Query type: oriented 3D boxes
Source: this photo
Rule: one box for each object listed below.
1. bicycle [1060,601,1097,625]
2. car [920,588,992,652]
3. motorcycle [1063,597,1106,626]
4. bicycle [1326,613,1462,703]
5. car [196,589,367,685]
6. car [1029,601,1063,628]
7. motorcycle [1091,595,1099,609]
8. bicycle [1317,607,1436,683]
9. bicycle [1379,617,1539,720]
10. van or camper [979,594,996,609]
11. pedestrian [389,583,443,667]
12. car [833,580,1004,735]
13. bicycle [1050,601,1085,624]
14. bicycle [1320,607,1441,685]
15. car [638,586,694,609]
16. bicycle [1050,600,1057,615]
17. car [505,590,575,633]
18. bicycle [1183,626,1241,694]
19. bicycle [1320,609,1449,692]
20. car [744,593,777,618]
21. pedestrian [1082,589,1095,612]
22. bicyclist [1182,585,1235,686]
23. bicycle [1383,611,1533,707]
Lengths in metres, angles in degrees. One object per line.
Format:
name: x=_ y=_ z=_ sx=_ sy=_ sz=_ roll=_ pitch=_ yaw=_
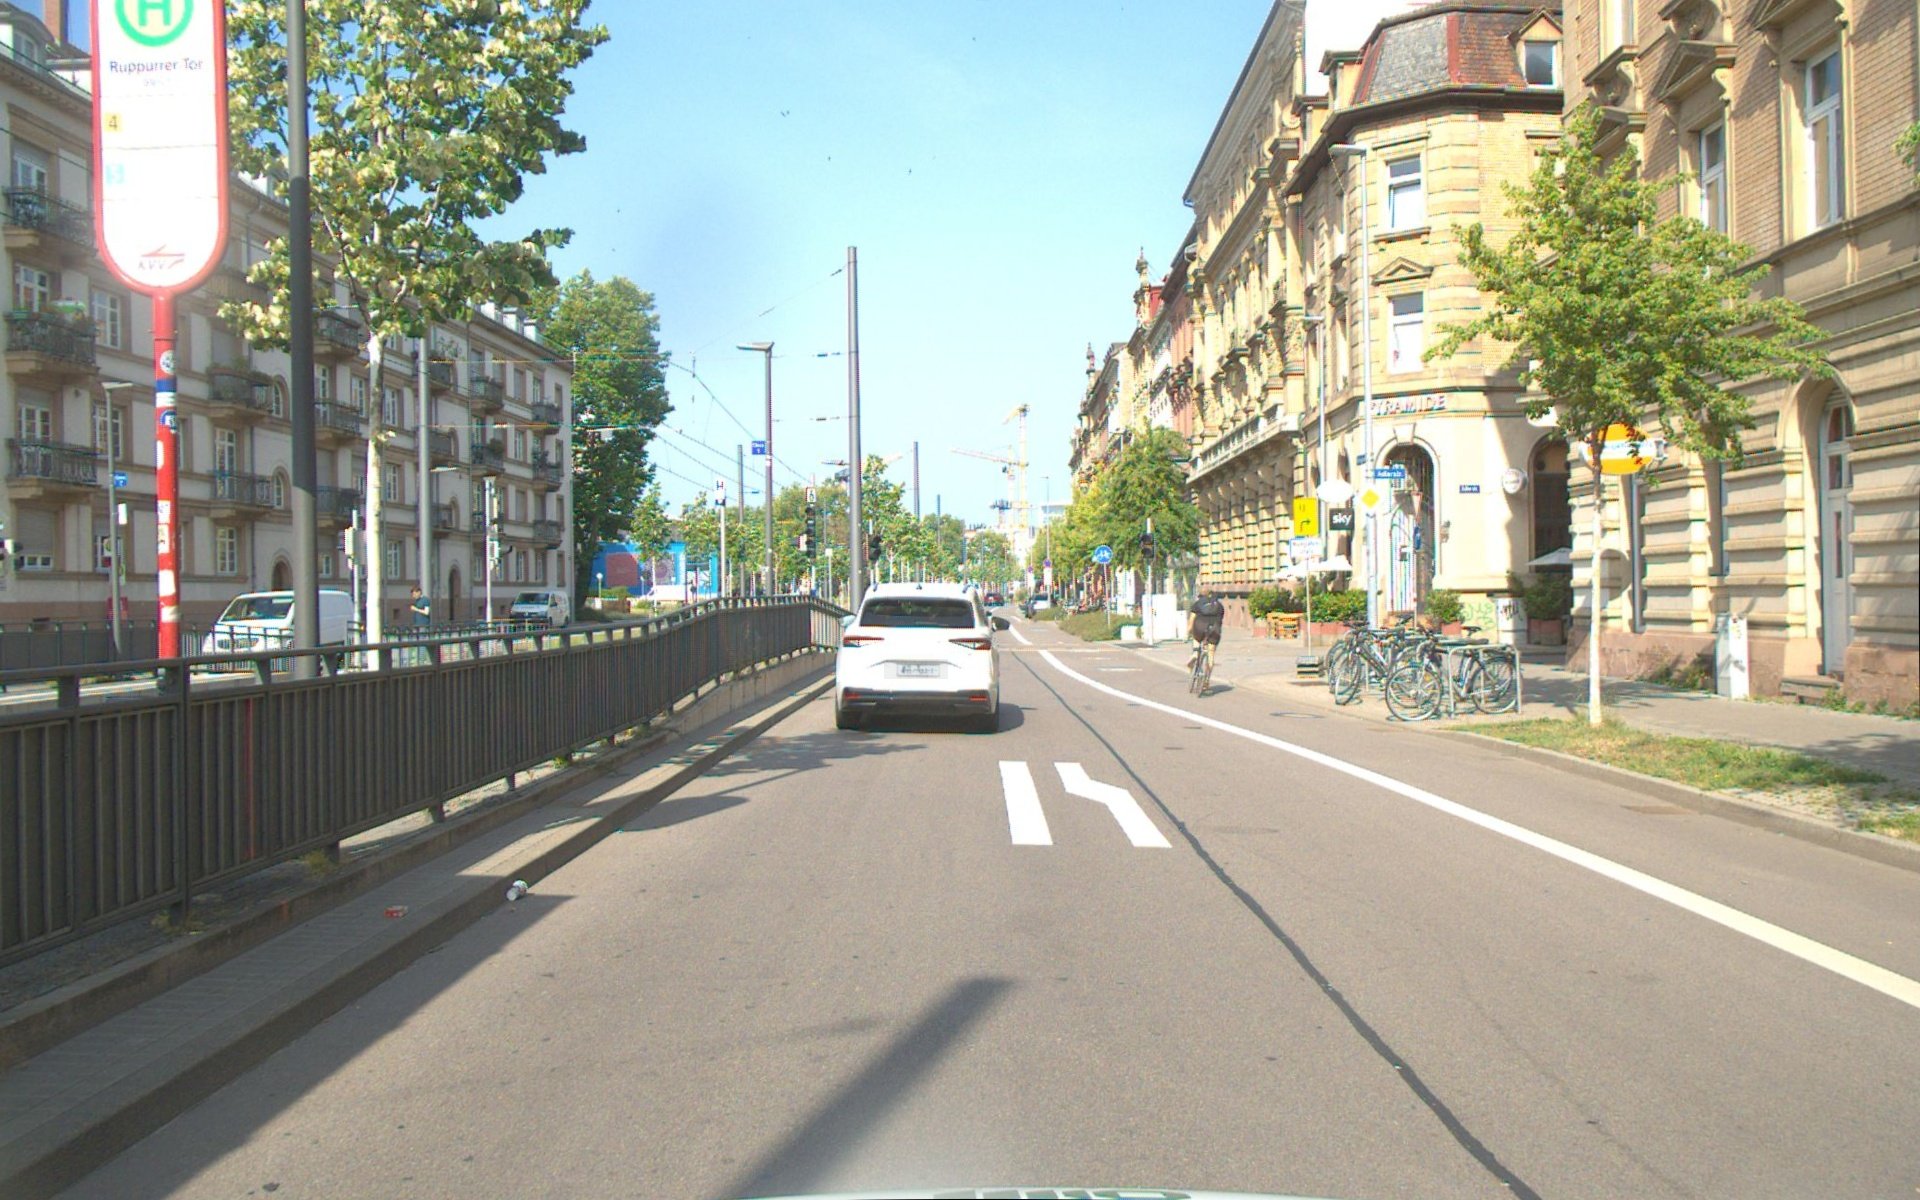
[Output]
bicycle: x=5.987 y=0.647 z=83.811 sx=1.771 sy=1.115 sz=0.671 roll=-3 pitch=0 yaw=-5
car: x=-0.066 y=0.468 z=41.588 sx=1.718 sy=1.510 sz=4.407 roll=0 pitch=0 yaw=1
motorcycle: x=5.999 y=0.562 z=79.715 sx=2.018 sy=1.309 sz=0.697 roll=-3 pitch=1 yaw=-35
bicycle: x=6.062 y=0.796 z=23.113 sx=1.731 sy=1.106 sz=0.668 roll=-4 pitch=0 yaw=-23
car: x=-15.723 y=0.799 z=38.630 sx=1.953 sy=2.049 sz=4.931 roll=-1 pitch=0 yaw=0
car: x=5.533 y=0.898 z=106.559 sx=1.734 sy=1.616 sz=4.245 roll=-2 pitch=0 yaw=-3
motorcycle: x=11.275 y=0.162 z=138.418 sx=0.454 sy=1.196 sz=1.945 roll=-3 pitch=0 yaw=1
bicycle: x=6.622 y=0.717 z=26.358 sx=1.716 sy=1.106 sz=0.583 roll=-3 pitch=0 yaw=4
bicycle: x=6.089 y=0.823 z=20.225 sx=1.723 sy=1.106 sz=0.609 roll=-4 pitch=0 yaw=-9
van or camper: x=3.209 y=0.123 z=193.890 sx=1.953 sy=1.684 sz=4.000 roll=-1 pitch=0 yaw=0
pedestrian: x=-12.600 y=0.579 z=38.282 sx=1.055 sy=1.900 sz=0.856 roll=-1 pitch=0 yaw=-27
car: x=-0.402 y=0.593 z=19.424 sx=1.780 sy=1.617 sz=4.407 roll=0 pitch=0 yaw=1
bicycle: x=5.543 y=0.643 z=85.508 sx=1.748 sy=1.072 sz=0.373 roll=-3 pitch=0 yaw=-1
bicycle: x=6.536 y=0.711 z=25.758 sx=1.716 sy=1.106 sz=0.583 roll=-3 pitch=0 yaw=4
car: x=-38.120 y=-0.309 z=214.655 sx=6.773 sy=2.685 sz=2.499 roll=2 pitch=-1 yaw=-20
bicycle: x=7.216 y=0.581 z=127.878 sx=0.482 sy=1.113 sz=1.827 roll=-1 pitch=0 yaw=1
car: x=-20.208 y=0.528 z=79.822 sx=1.952 sy=1.951 sz=5.154 roll=1 pitch=0 yaw=1
bicycle: x=3.892 y=0.911 z=25.421 sx=0.495 sy=0.970 sz=1.785 roll=-2 pitch=-1 yaw=20
bicycle: x=6.275 y=0.741 z=24.504 sx=1.718 sy=1.106 sz=0.669 roll=-3 pitch=0 yaw=6
car: x=-16.120 y=0.403 z=133.723 sx=1.952 sy=1.928 sz=5.047 roll=-1 pitch=0 yaw=1
pedestrian: x=10.002 y=0.018 z=129.011 sx=0.806 sy=1.726 sz=0.793 roll=-3 pitch=0 yaw=-3
bicyclist: x=3.807 y=0.533 z=25.348 sx=0.571 sy=1.508 sz=0.932 roll=-2 pitch=-1 yaw=20
bicycle: x=6.554 y=0.767 z=21.789 sx=1.723 sy=1.106 sz=0.656 roll=-4 pitch=0 yaw=-9
